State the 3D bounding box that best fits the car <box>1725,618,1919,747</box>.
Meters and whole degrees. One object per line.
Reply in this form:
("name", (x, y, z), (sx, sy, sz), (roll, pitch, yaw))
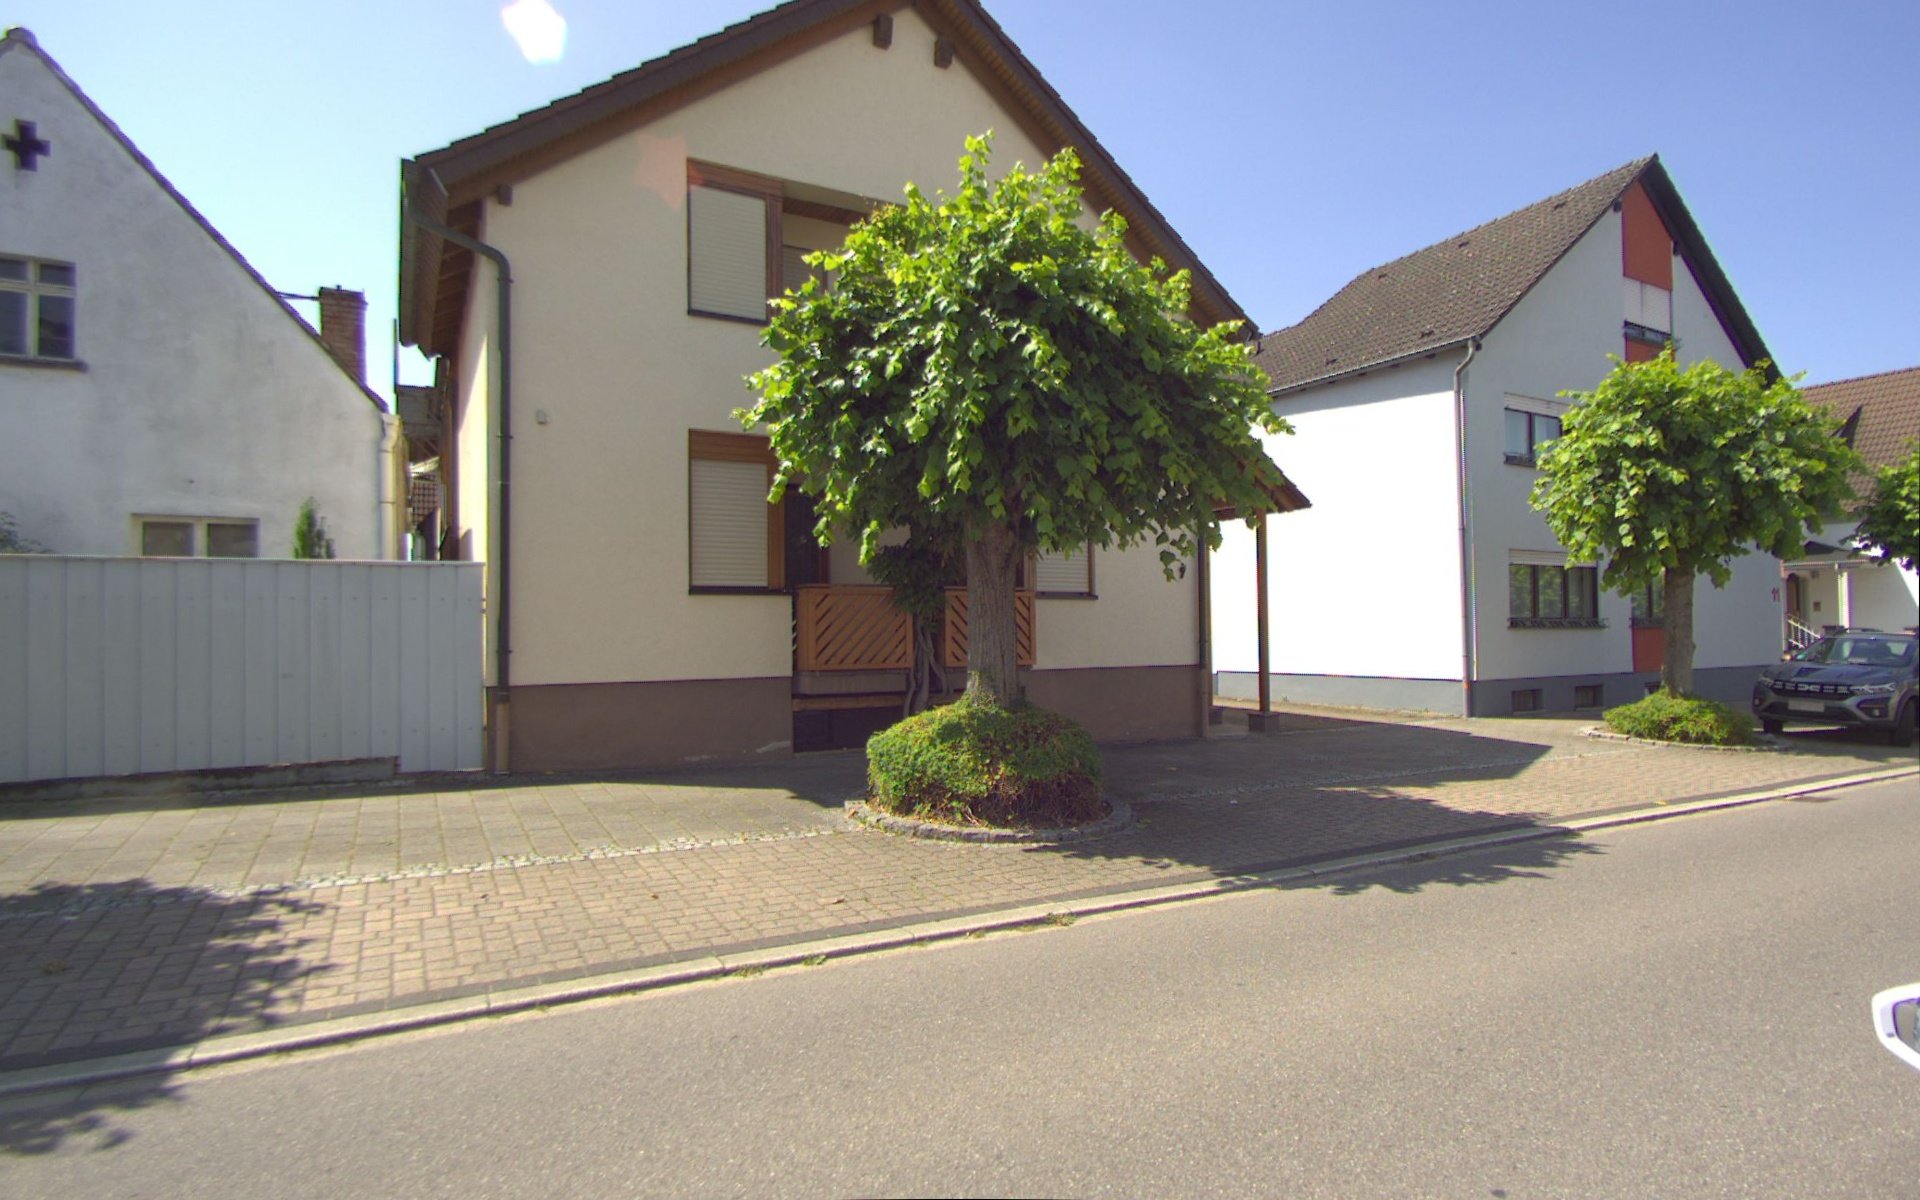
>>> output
("car", (13.440, 1.139, 14.836), (4.083, 1.634, 1.845), (1, 0, -28))
